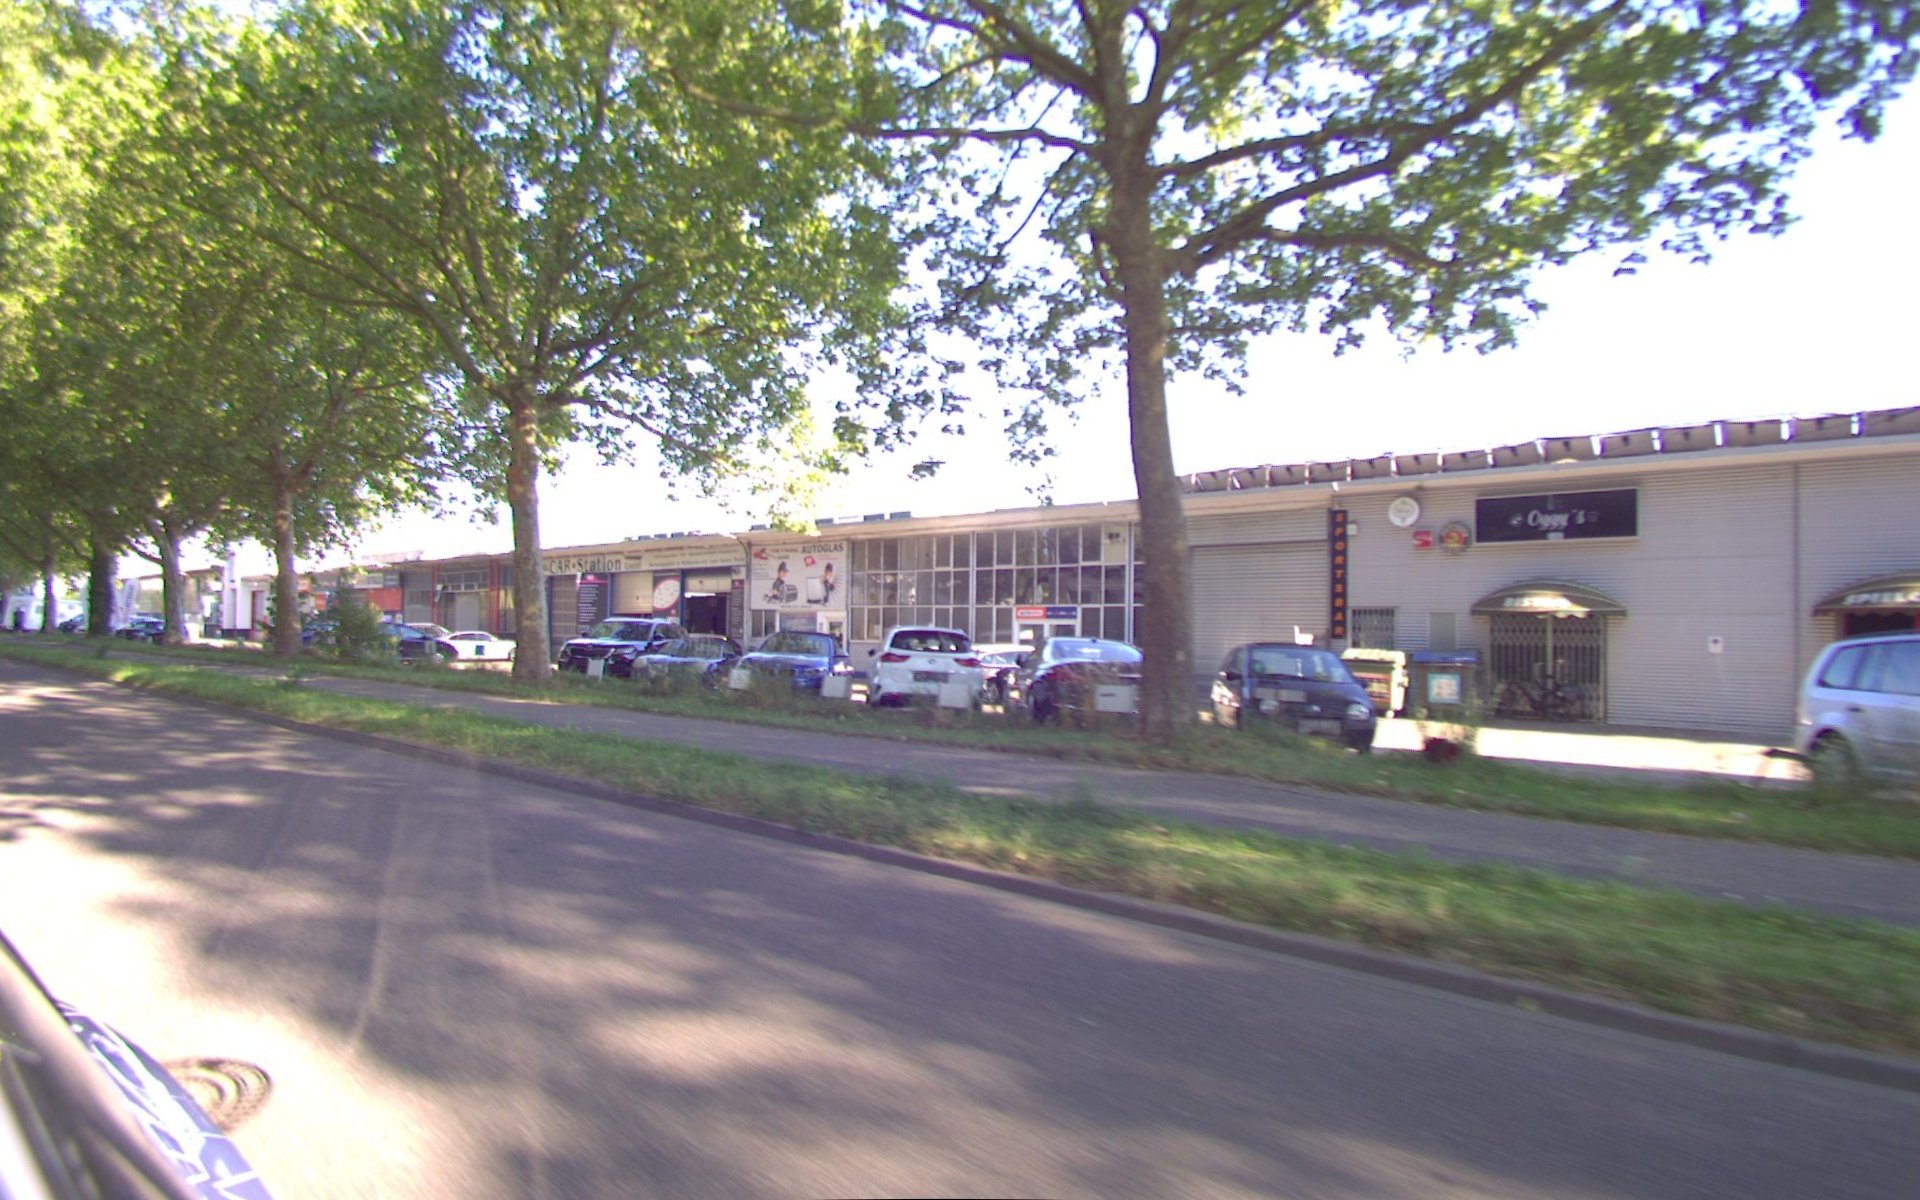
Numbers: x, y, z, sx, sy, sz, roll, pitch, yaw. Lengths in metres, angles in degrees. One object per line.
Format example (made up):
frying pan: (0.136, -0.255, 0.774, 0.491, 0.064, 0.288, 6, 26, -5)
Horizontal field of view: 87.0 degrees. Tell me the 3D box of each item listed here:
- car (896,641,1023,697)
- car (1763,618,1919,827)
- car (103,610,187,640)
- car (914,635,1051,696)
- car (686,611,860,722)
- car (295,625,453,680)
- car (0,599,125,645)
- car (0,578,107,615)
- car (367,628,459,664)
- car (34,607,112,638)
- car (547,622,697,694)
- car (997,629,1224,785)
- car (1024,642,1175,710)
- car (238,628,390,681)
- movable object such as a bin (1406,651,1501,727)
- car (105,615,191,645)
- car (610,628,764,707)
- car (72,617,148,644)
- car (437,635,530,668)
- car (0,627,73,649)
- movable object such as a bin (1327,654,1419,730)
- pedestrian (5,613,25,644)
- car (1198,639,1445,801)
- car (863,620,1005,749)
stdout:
car: (-0.034, 1.882, 28.046, 3.242, 1.395, 1.557, 0, 0, -14)
car: (9.138, 1.056, 8.122, 1.974, 1.744, 4.479, 0, 0, 4)
car: (-51.047, 1.550, 63.505, 1.971, 1.764, 4.315, 0, 0, -3)
car: (0.553, 1.663, 26.166, 3.244, 1.417, 1.713, 0, 0, -11)
car: (-3.294, 1.111, 18.675, 1.977, 1.763, 3.989, 0, 0, 9)
car: (-19.111, 1.660, 33.219, 1.983, 1.541, 4.326, 0, 0, 17)
car: (-66.356, 1.684, 74.791, 2.575, 2.875, 6.931, 0, -5, 12)
car: (-74.119, -0.228, 82.763, 2.574, 2.516, 6.302, 0, -5, 11)
car: (-28.042, 2.331, 51.996, 3.930, 1.719, 2.007, 0, 0, -22)
car: (-56.900, 1.420, 65.033, 1.967, 1.854, 4.259, 0, 0, -12)
car: (-7.861, 1.290, 23.991, 1.973, 1.463, 4.259, 0, 0, 3)
car: (1.807, 1.277, 13.680, 1.969, 1.641, 4.269, 0, 0, -7)
car: (3.395, 1.791, 24.599, 3.241, 1.417, 1.714, 0, 0, -27)
car: (-24.935, 2.035, 39.312, 1.983, 1.773, 4.872, 0, 0, 17)
movable object such as a bin: (10.400, 1.848, 21.345, 1.626, 1.442, 1.046, 0, 0, 39)
car: (-45.372, 1.638, 56.670, 1.970, 1.586, 3.847, 0, 0, -5)
car: (-5.648, 1.345, 21.549, 1.973, 1.392, 4.259, 0, 0, 3)
car: (-52.972, 1.864, 63.140, 1.967, 1.582, 4.061, 0, 0, -12)
car: (-22.785, 2.447, 48.587, 3.930, 1.453, 2.007, 0, 0, -22)
car: (-87.876, 3.588, 94.978, 2.708, 1.693, 6.373, -1, -6, 22)
movable object such as a bin: (8.726, 1.907, 21.383, 1.571, 1.442, 1.046, 0, 0, 39)
pedestrian: (-55.243, 1.646, 59.132, 0.940, 1.786, 0.795, 0, 0, 43)
car: (4.556, 1.426, 13.506, 1.974, 1.641, 4.258, 0, 0, 4)
car: (-0.561, 1.232, 16.436, 1.969, 1.712, 4.268, 0, 0, -6)
